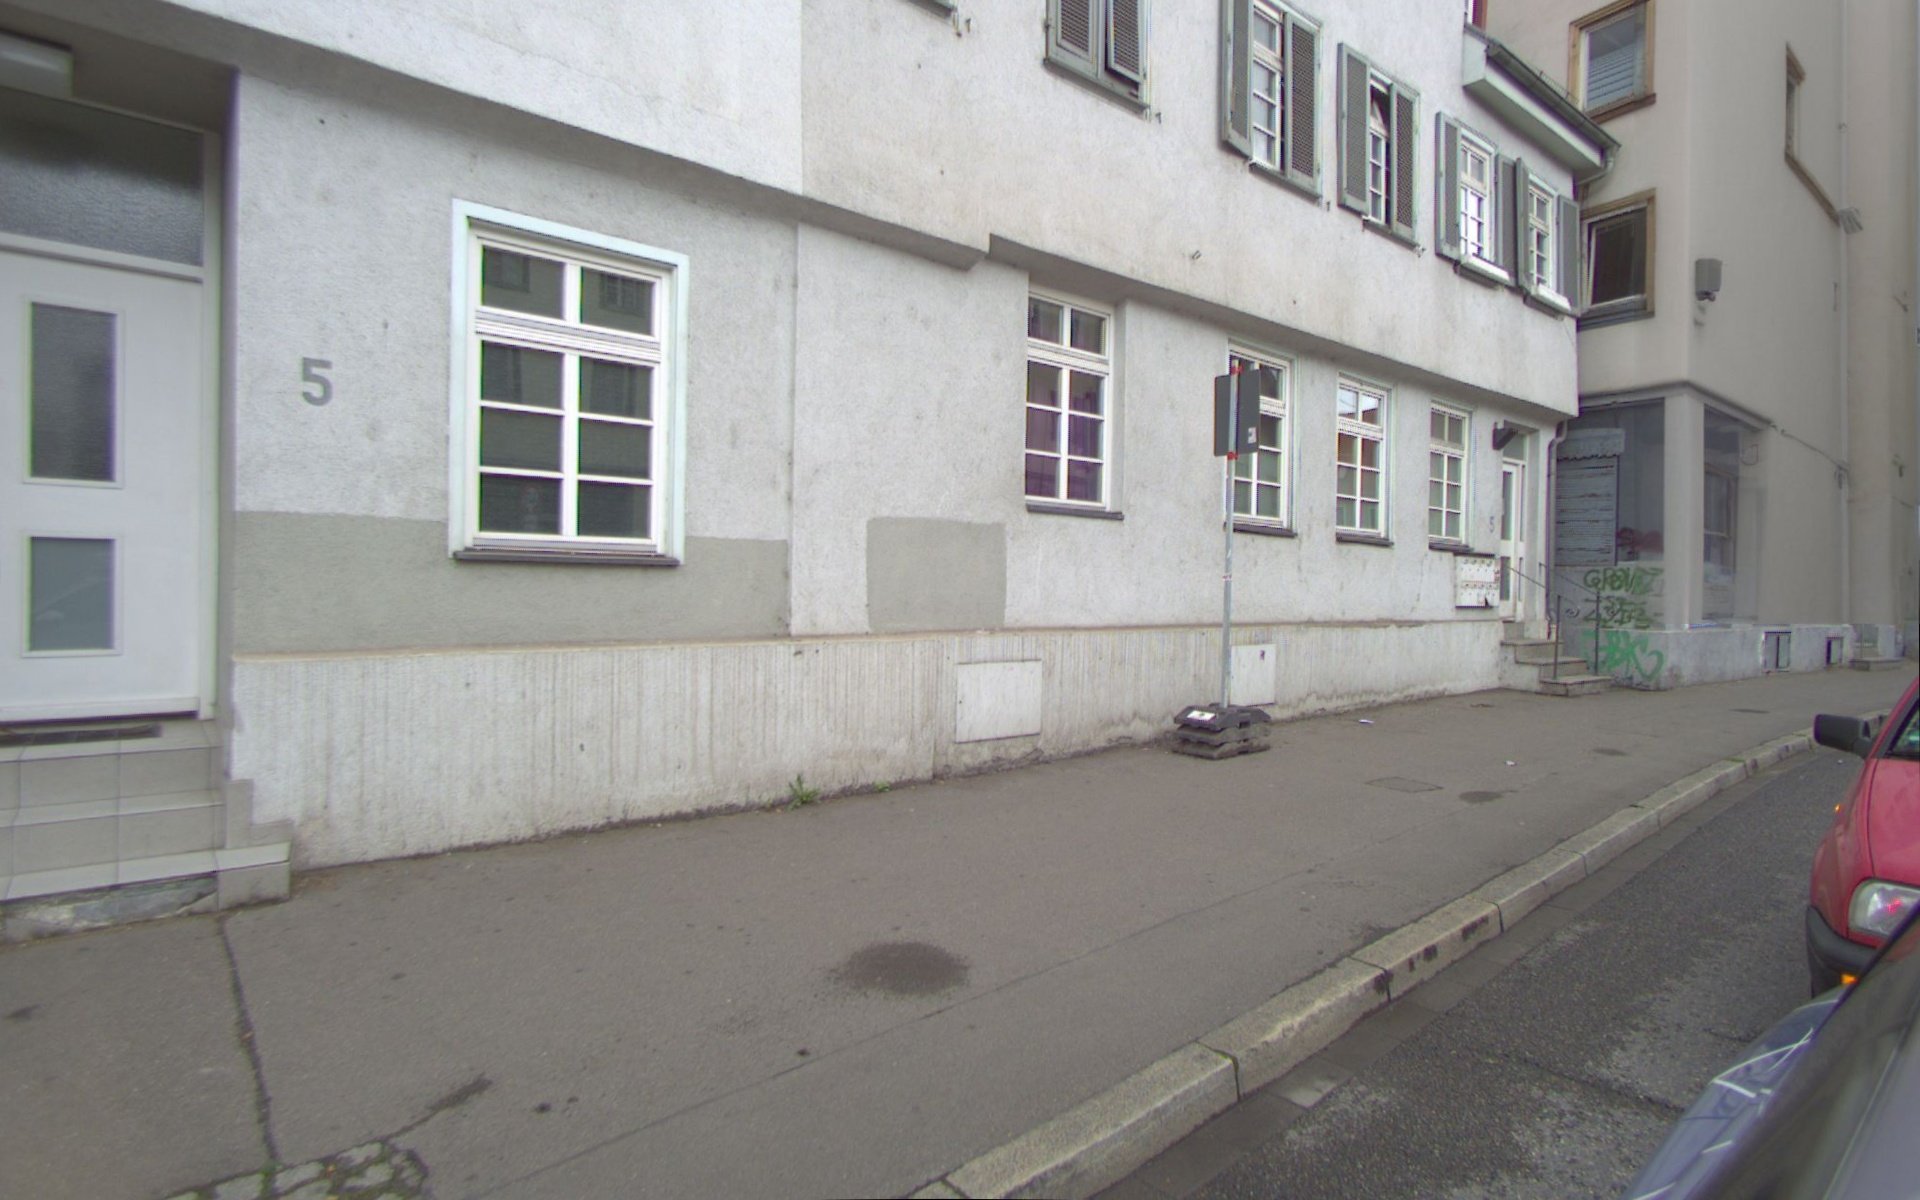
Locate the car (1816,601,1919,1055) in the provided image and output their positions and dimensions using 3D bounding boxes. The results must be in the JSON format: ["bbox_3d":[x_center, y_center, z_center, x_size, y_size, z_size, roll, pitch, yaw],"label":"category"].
[{"bbox_3d":[5.055,0.742,4.105,3.930,1.485,1.802,0,-2,-41],"label":"car"}]
